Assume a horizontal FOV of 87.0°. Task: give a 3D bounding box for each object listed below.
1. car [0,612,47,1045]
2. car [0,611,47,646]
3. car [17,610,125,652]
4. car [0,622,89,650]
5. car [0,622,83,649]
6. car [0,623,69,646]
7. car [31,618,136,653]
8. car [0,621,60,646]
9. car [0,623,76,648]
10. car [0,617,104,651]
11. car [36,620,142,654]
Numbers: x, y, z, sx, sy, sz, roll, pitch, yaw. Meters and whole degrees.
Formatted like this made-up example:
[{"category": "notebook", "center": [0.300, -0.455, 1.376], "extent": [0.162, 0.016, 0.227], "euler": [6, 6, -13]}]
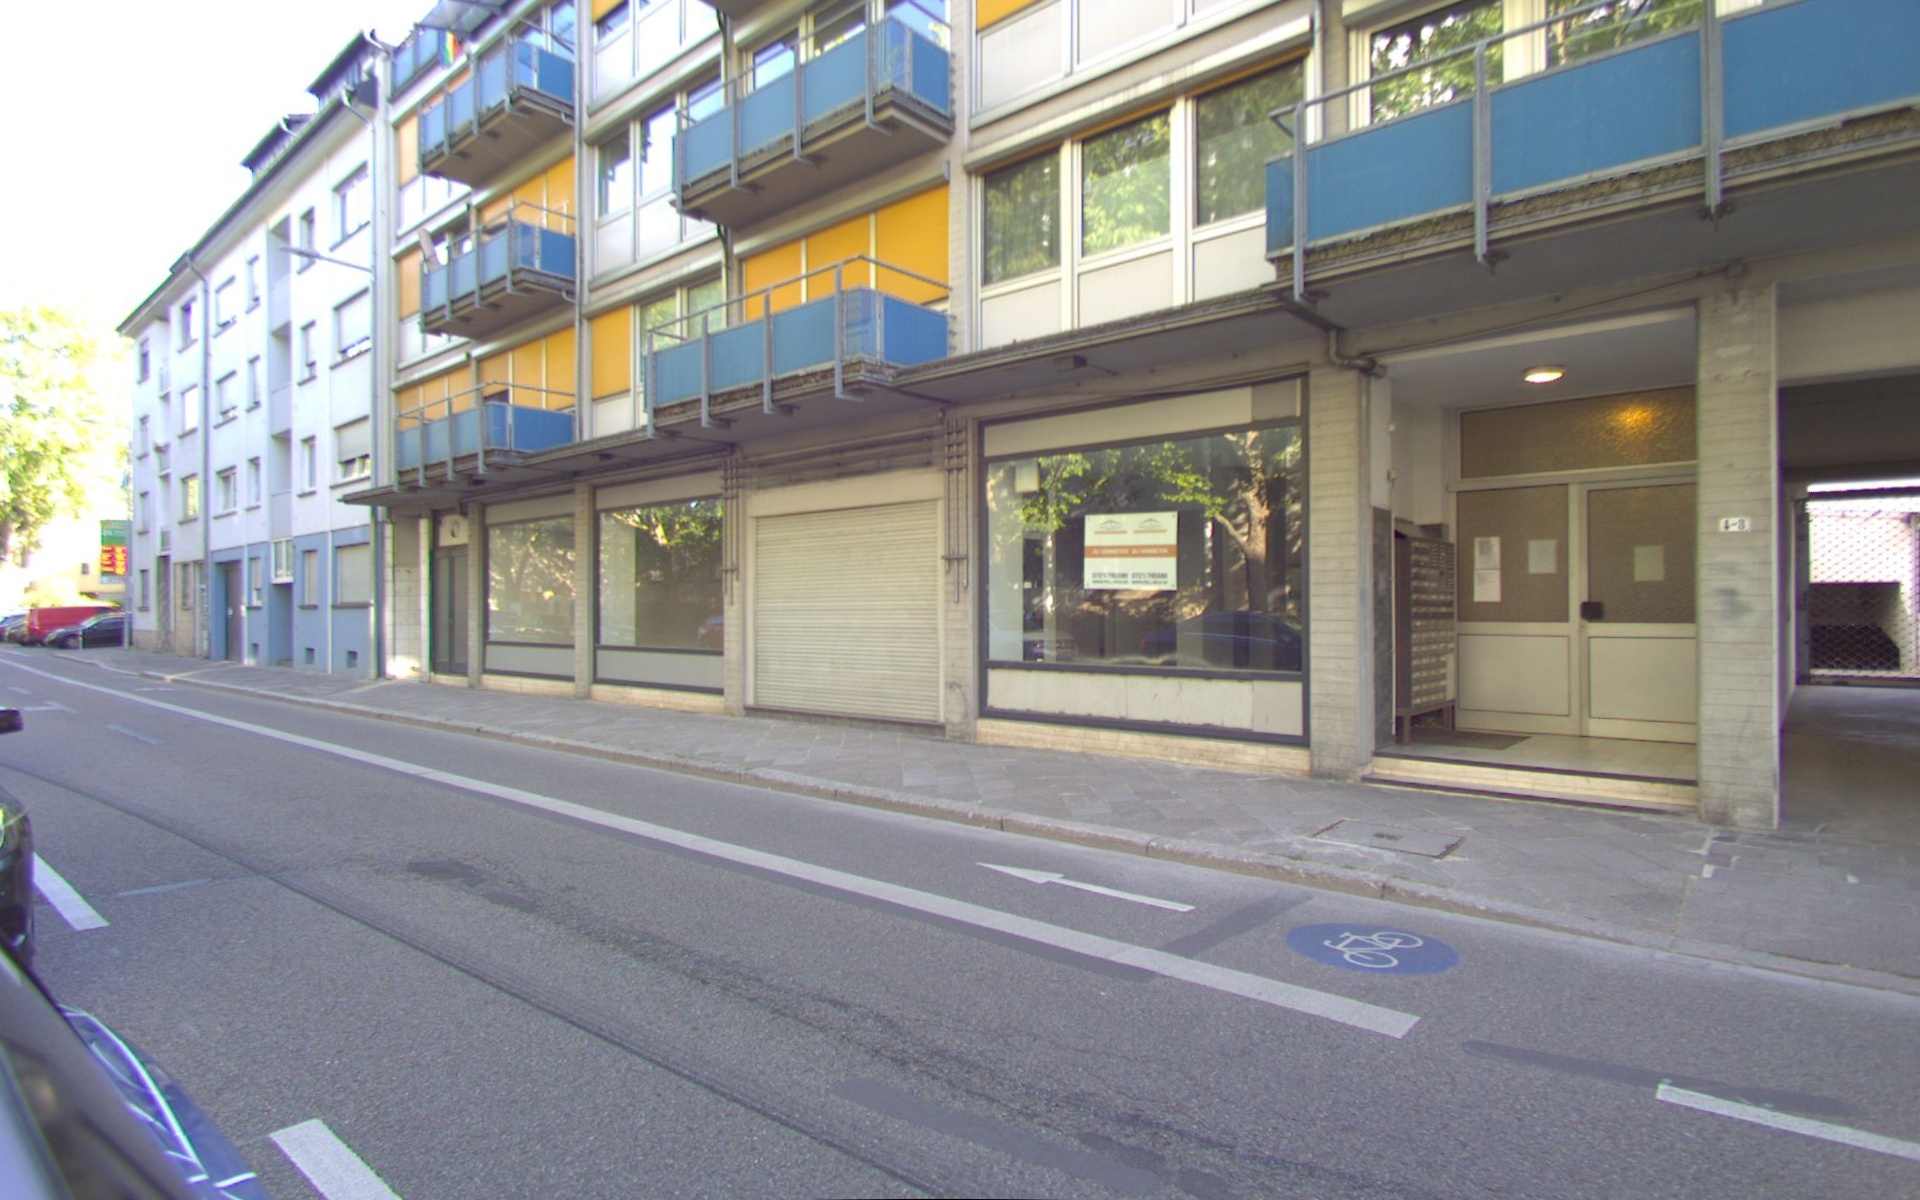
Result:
[{"category": "car", "center": [-5.501, 0.828, 4.335], "extent": [4.291, 1.515, 1.805], "euler": [-1, 0, 40]}, {"category": "car", "center": [-62.906, 1.874, 66.736], "extent": [1.725, 2.193, 3.854], "euler": [-1, 0, 42]}, {"category": "car", "center": [-43.896, 1.500, 50.014], "extent": [1.749, 1.921, 3.854], "euler": [-1, -1, 42]}, {"category": "car", "center": [-52.040, 2.019, 57.369], "extent": [1.594, 1.385, 3.854], "euler": [-1, 0, 42]}, {"category": "car", "center": [-53.554, 2.036, 58.708], "extent": [1.594, 1.385, 3.854], "euler": [-1, 0, 42]}, {"category": "car", "center": [-57.377, 2.115, 62.148], "extent": [1.525, 1.343, 3.854], "euler": [-1, 0, 42]}, {"category": "car", "center": [-41.703, 1.639, 48.197], "extent": [1.602, 1.521, 3.620], "euler": [-1, 0, 42]}, {"category": "car", "center": [-59.407, 2.100, 63.906], "extent": [1.539, 1.451, 3.733], "euler": [-1, 0, 42]}, {"category": "car", "center": [-55.571, 2.094, 60.587], "extent": [1.525, 1.343, 3.854], "euler": [-1, 0, 42]}, {"category": "car", "center": [-46.243, 1.712, 51.552], "extent": [1.603, 1.598, 3.854], "euler": [-1, 0, 42]}, {"category": "car", "center": [-39.985, 1.687, 46.501], "extent": [1.534, 1.420, 3.551], "euler": [-2, -1, 42]}]
